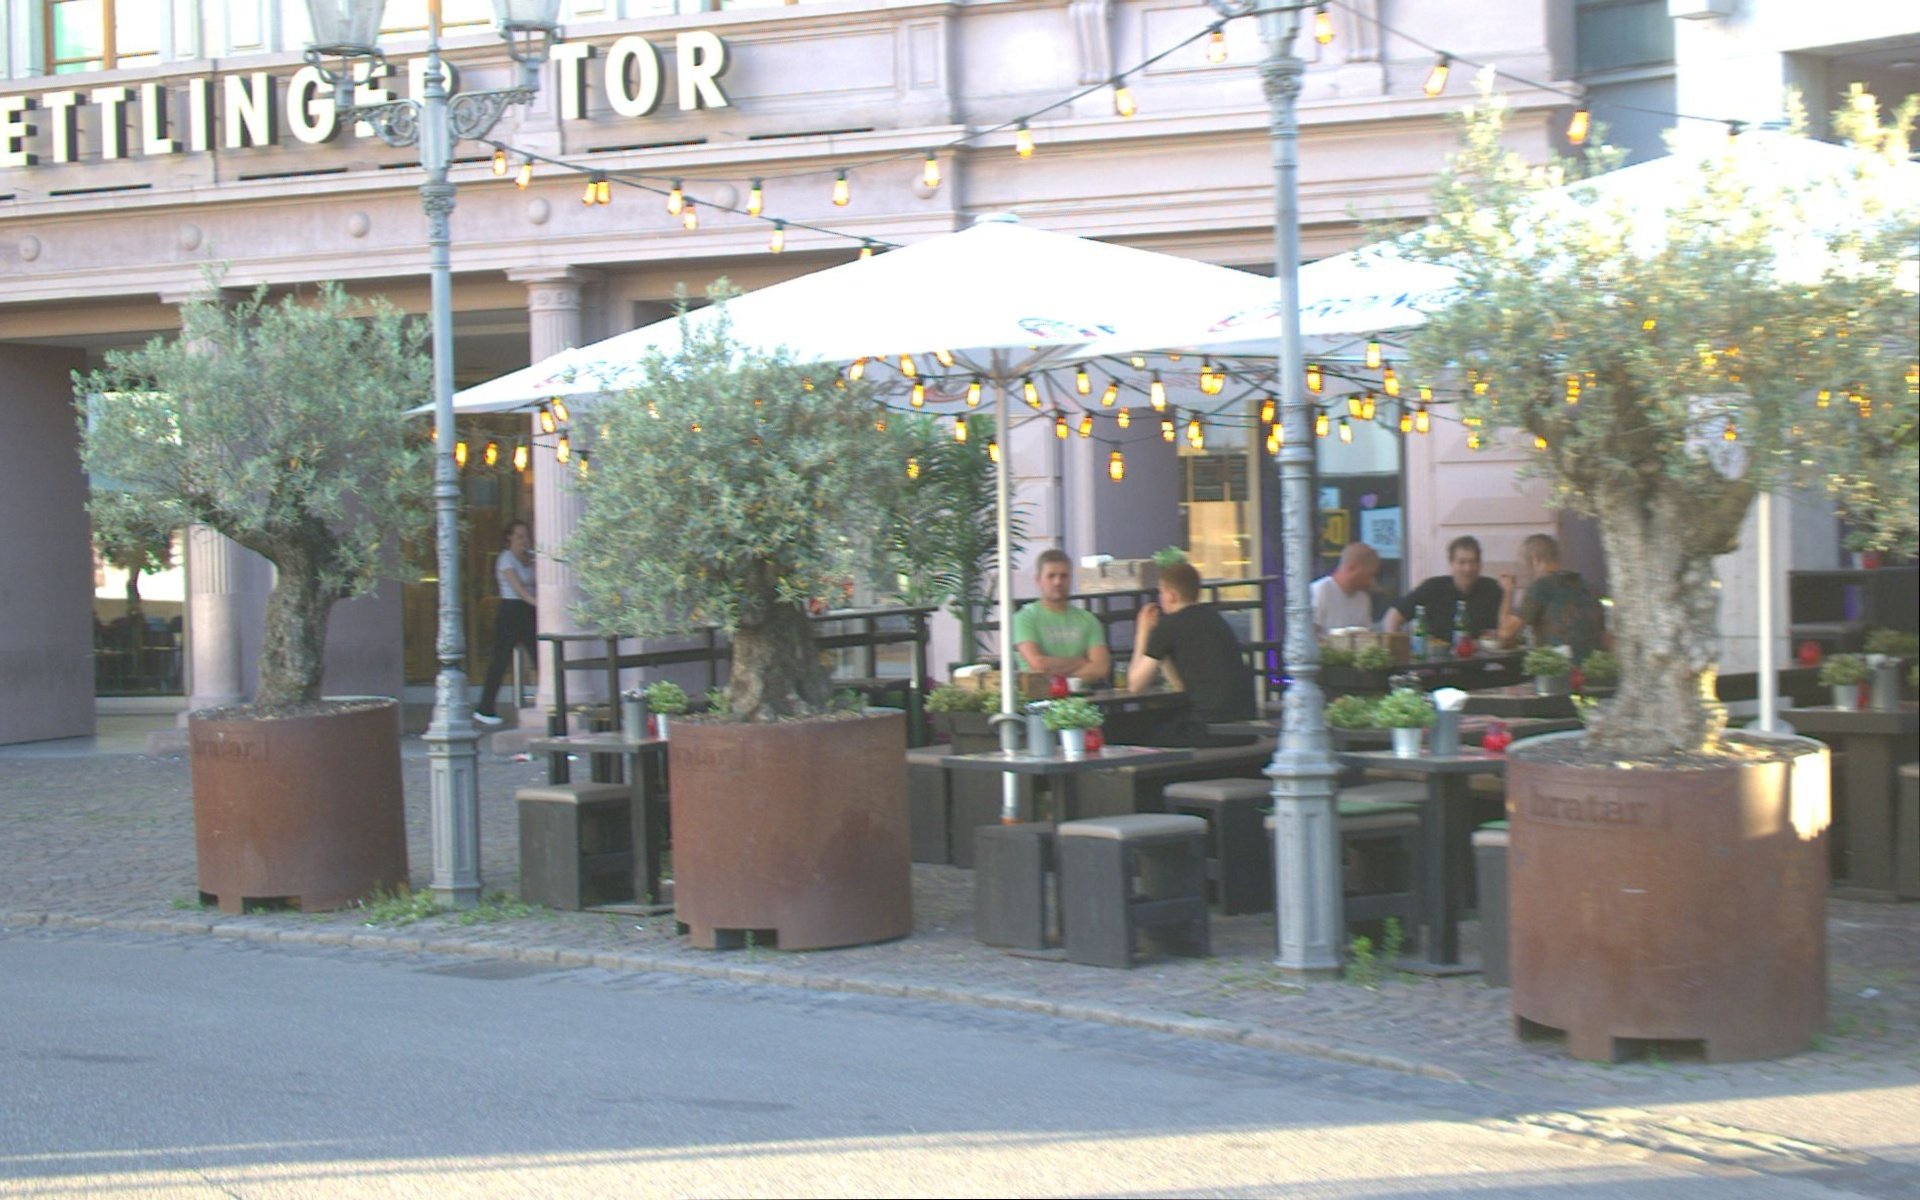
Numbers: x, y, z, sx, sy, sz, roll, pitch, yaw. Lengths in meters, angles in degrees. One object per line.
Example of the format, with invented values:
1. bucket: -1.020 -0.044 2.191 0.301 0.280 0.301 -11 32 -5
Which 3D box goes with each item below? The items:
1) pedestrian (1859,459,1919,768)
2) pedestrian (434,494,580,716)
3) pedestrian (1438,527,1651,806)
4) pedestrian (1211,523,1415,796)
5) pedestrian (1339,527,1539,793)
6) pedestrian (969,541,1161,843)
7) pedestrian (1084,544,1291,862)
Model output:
1. pedestrian: 5.888 0.069 20.354 0.726 1.796 0.982 -1 1 -10
2. pedestrian: -3.617 0.037 27.483 0.870 1.741 0.715 -1 1 26
3. pedestrian: 3.135 0.337 18.468 0.772 1.442 0.853 -2 1 -22
4. pedestrian: 1.933 0.310 18.916 0.772 1.442 0.853 -2 1 -24
5. pedestrian: 2.688 0.319 19.352 0.772 1.442 0.853 -2 1 -22
6. pedestrian: 0.512 0.434 17.065 0.721 1.442 0.866 -1 1 -14
7. pedestrian: 1.067 0.464 16.245 0.721 1.442 0.866 -1 1 -14
